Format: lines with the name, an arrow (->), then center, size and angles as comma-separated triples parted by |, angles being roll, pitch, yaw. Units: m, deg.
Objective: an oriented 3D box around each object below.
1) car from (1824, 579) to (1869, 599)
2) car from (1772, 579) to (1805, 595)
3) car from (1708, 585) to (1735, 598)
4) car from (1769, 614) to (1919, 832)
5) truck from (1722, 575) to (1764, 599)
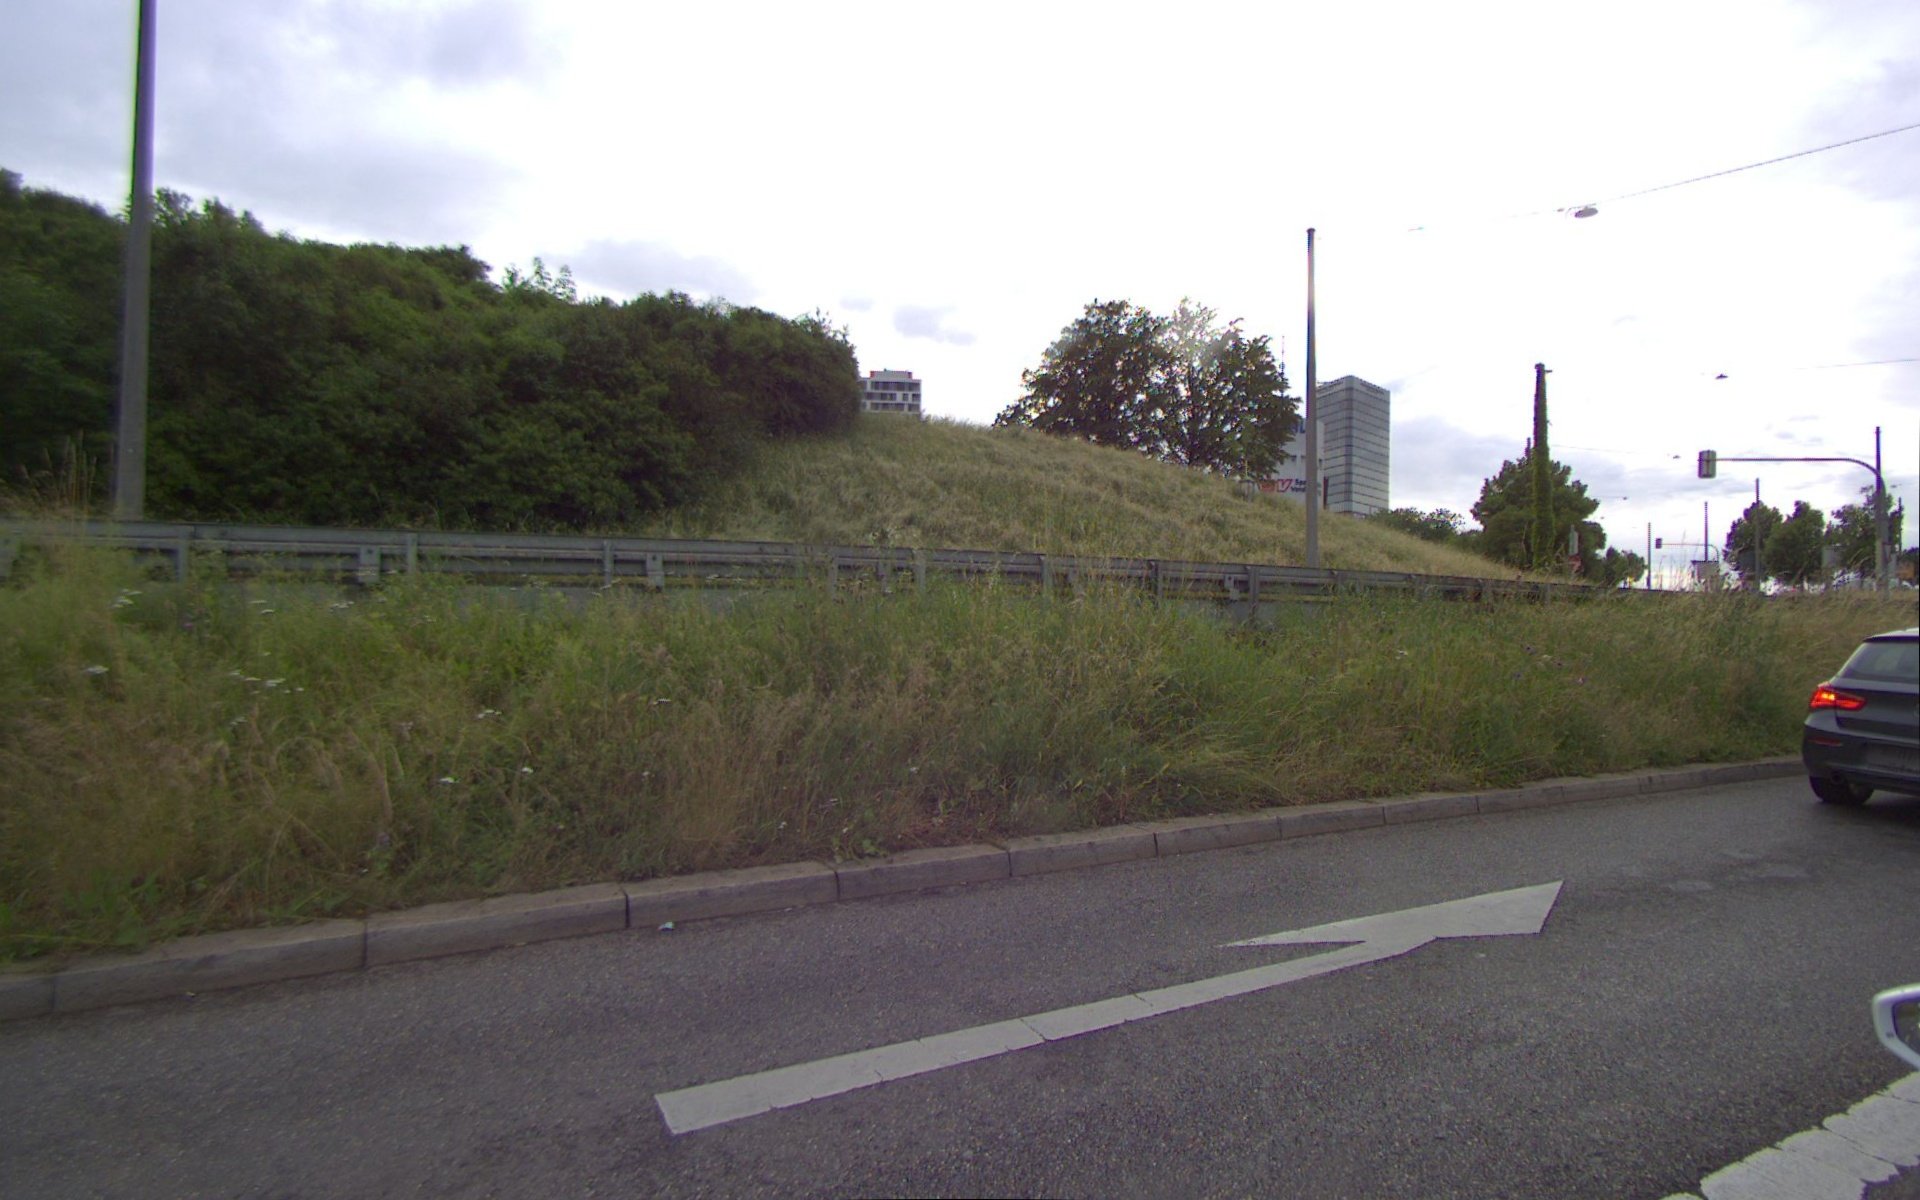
car -> 88.718, -1.093, 100.577 | 2.096, 1.818, 4.736 | 2, -1, 26
car -> 99.921, -1.571, 121.191 | 1.962, 1.681, 4.541 | 2, -1, 25
car -> 104.690, -1.140, 138.108 | 1.962, 1.681, 4.350 | 2, -1, 25
car -> 8.354, 0.868, 7.735 | 4.058, 1.479, 1.698 | 1, -1, -25
truck -> 111.927, -1.909, 143.681 | 3.206, 3.116, 6.171 | 4, 3, 23
